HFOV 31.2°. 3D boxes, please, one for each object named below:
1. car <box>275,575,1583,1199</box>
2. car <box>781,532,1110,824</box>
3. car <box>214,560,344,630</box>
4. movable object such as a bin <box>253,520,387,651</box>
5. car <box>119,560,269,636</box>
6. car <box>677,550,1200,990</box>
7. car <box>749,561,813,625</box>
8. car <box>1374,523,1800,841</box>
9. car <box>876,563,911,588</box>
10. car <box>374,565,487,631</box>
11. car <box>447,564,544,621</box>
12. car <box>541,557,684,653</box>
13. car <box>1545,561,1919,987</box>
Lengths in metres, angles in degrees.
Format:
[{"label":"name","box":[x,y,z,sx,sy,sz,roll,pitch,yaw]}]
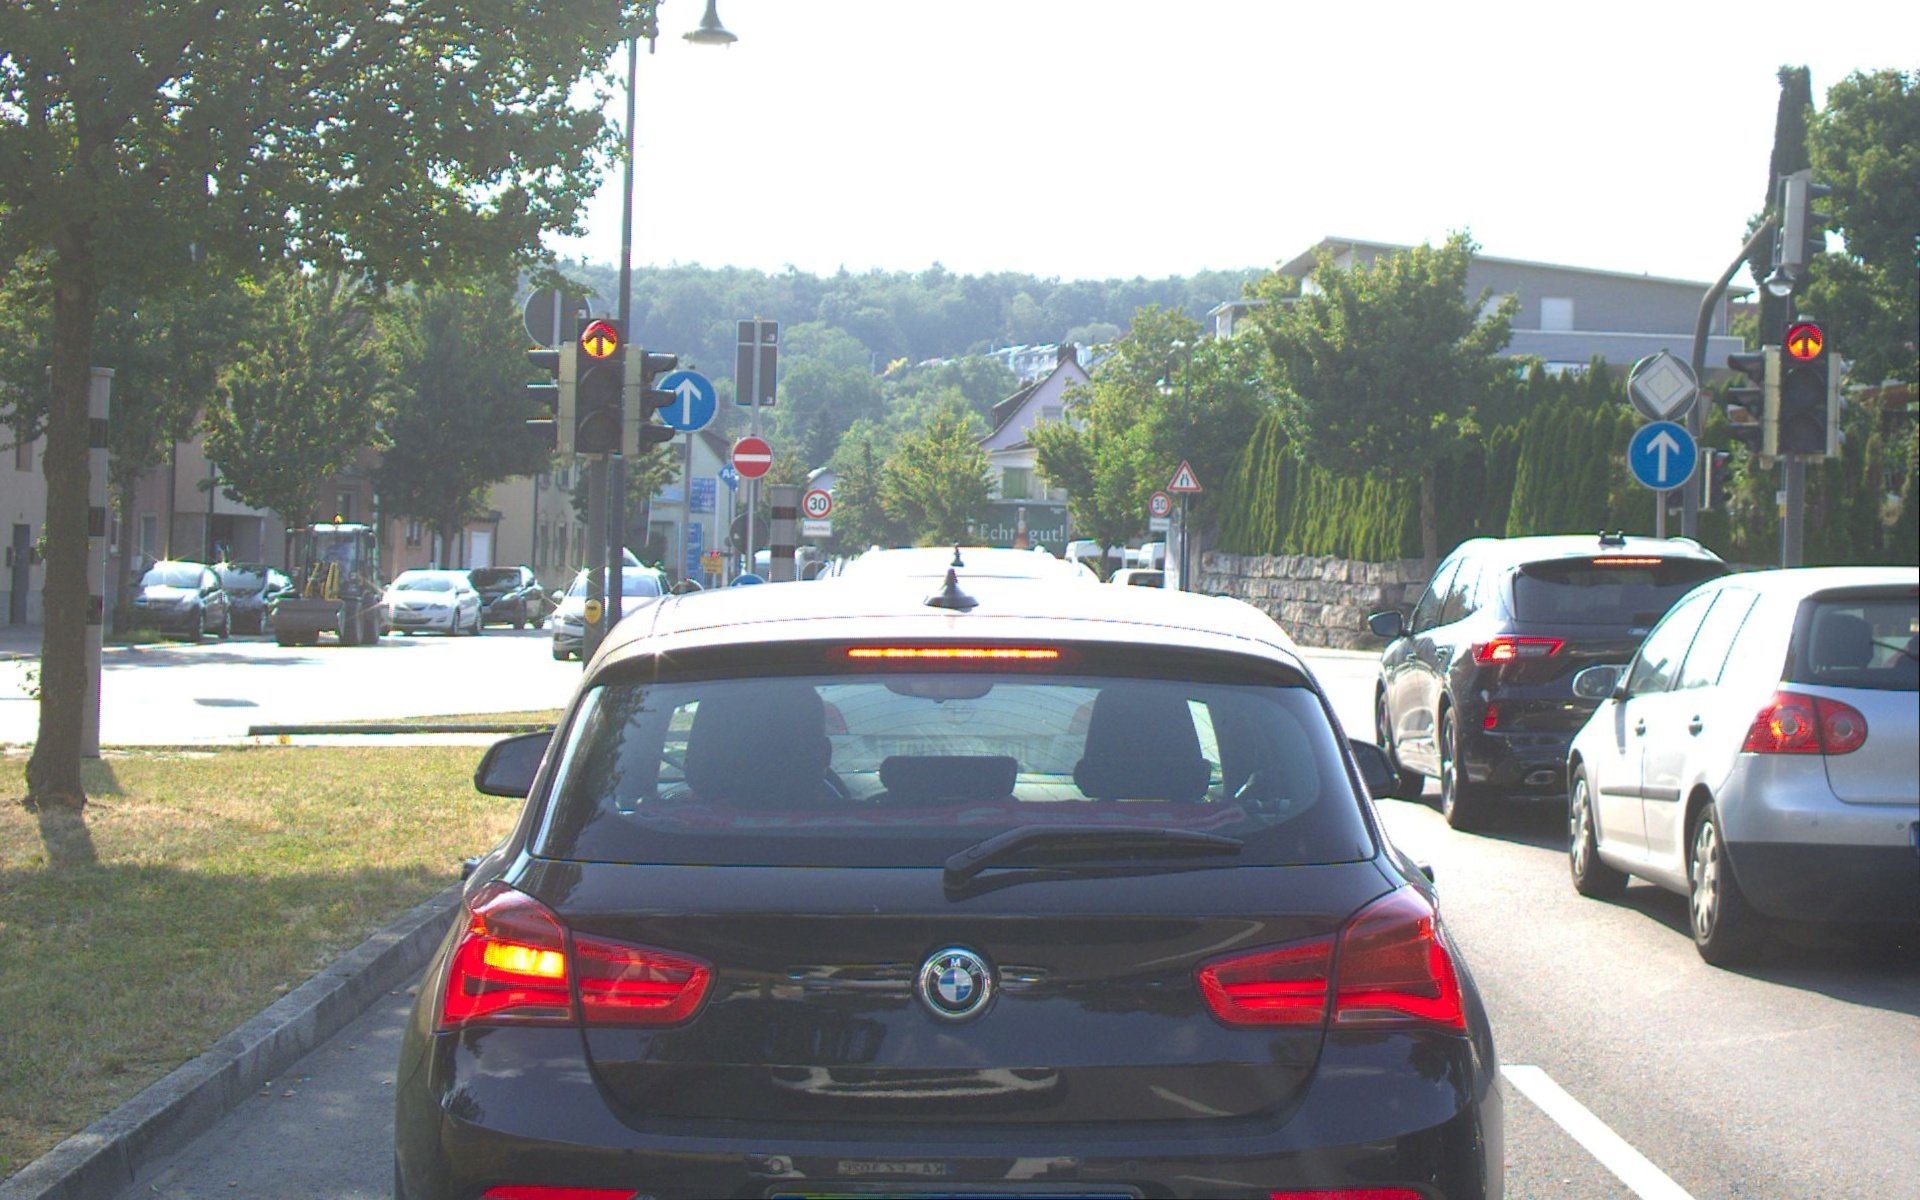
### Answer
[{"label":"car","box":[-0.036,0.678,6.868,1.788,1.393,4.281,-1,1,0]},{"label":"car","box":[-0.077,0.393,21.053,1.788,1.588,4.281,-1,1,0]},{"label":"car","box":[-14.507,-0.120,73.438,1.737,1.296,4.000,5,1,2]},{"label":"movable object such as a bin","box":[-12.279,-0.305,66.209,1.736,2.433,4.450,0,1,0]},{"label":"car","box":[-14.930,-0.062,67.163,1.737,1.296,4.000,5,1,3]},{"label":"car","box":[-0.071,0.558,14.013,1.788,1.488,4.281,-1,1,0]},{"label":"car","box":[-6.931,-0.291,133.734,2.084,2.385,5.528,1,1,1]},{"label":"car","box":[3.532,0.398,20.032,1.761,1.650,3.903,-1,1,0]},{"label":"car","box":[-3.994,-1.470,206.111,1.737,1.296,3.799,5,1,2]},{"label":"car","box":[-11.927,-0.071,77.636,1.737,1.296,3.799,5,1,2]},{"label":"car","box":[-11.929,-0.208,88.486,1.737,1.296,3.799,5,1,2]},{"label":"car","box":[-5.584,0.052,55.647,1.839,1.477,4.000,1,1,1]},{"label":"car","box":[3.558,0.576,13.750,1.761,1.421,3.903,-1,1,0]}]
